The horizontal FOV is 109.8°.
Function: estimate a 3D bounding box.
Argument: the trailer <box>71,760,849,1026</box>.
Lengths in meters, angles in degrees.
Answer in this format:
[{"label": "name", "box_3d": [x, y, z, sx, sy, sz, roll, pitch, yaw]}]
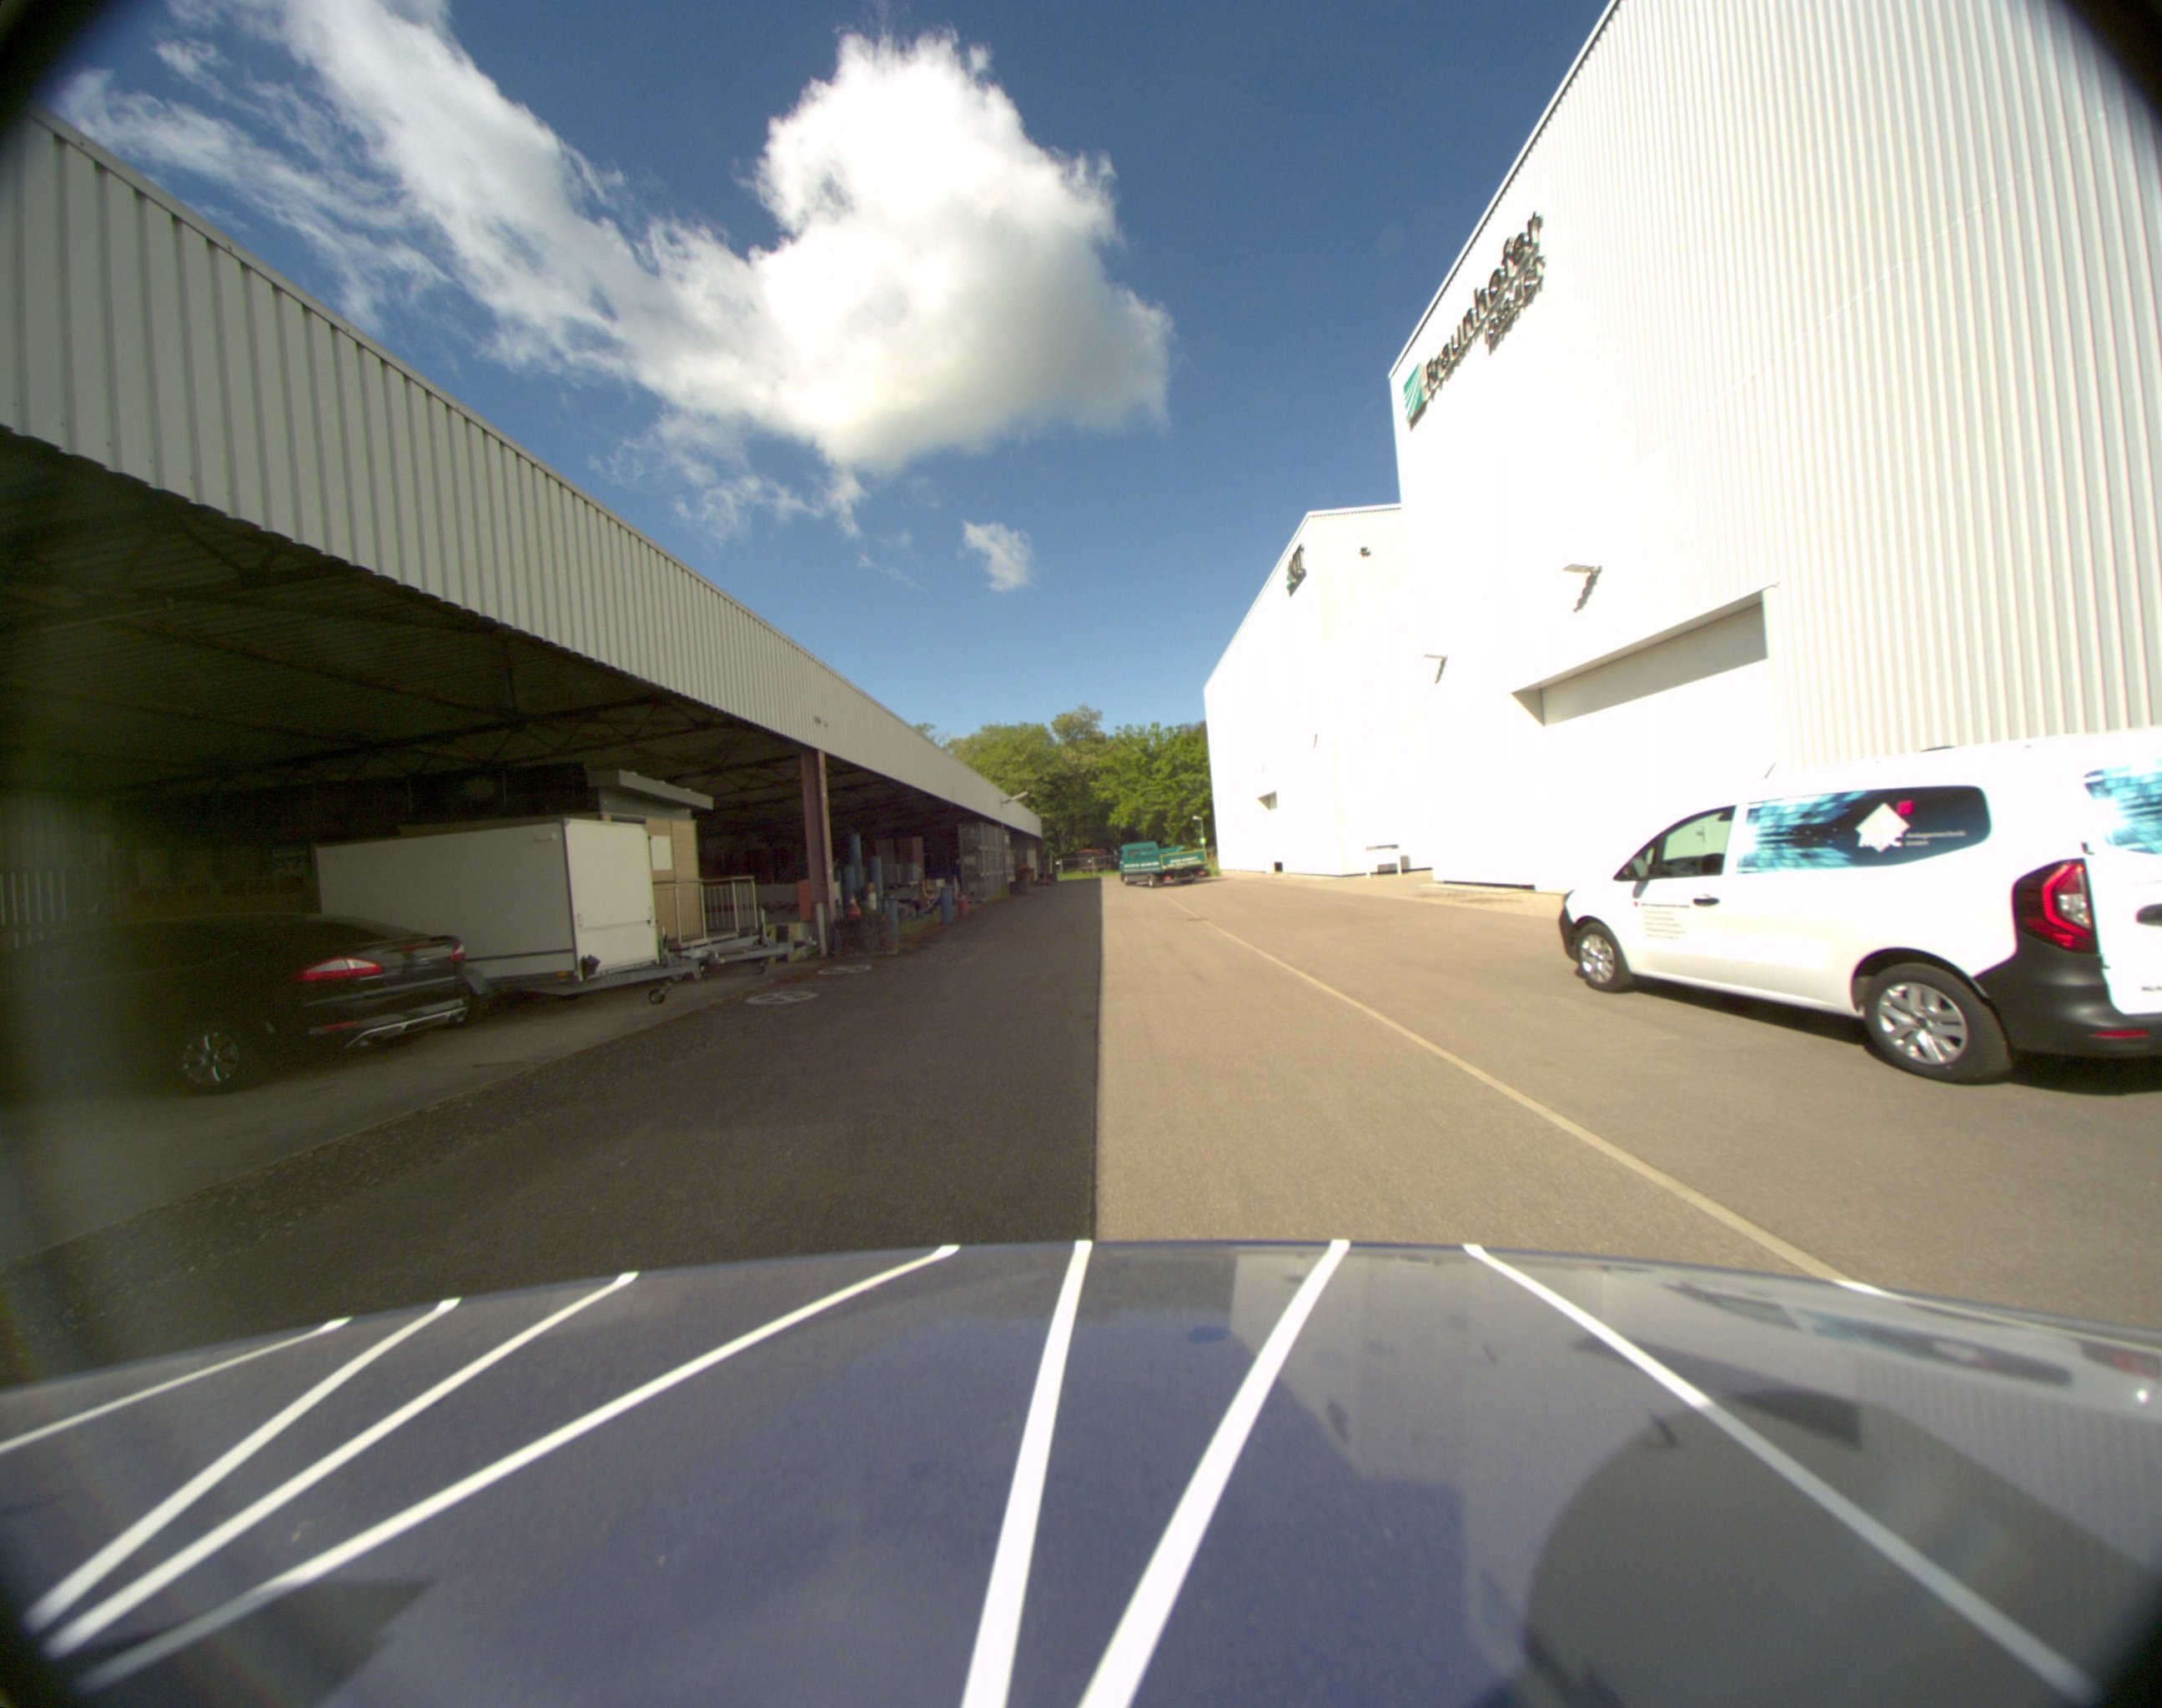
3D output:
[{"label": "trailer", "box_3d": [-9.353, 0.596, 12.165, 10.317, 3.276, 2.676, -3, 0, 2]}]

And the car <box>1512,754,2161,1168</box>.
[{"label": "car", "box_3d": [5.479, 0.405, 5.605, 1.933, 1.779, 4.598, -6, 0, 2]}]

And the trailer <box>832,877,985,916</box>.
[{"label": "trailer", "box_3d": [-7.003, 1.705, 31.217, 5.748, 1.126, 2.009, -4, 0, 0]}]

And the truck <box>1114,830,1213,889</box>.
[{"label": "truck", "box_3d": [4.406, 0.420, 43.409, 2.589, 2.700, 9.688, -7, 0, -11]}]

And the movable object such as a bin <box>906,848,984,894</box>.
[{"label": "movable object such as a bin", "box_3d": [-8.826, 1.139, 49.600, 4.626, 2.705, 2.000, -3, -1, 0]}]

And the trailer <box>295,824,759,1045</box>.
[{"label": "trailer", "box_3d": [-6.752, 0.940, 9.579, 4.552, 2.321, 1.689, -3, 0, 2]}]

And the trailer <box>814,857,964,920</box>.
[{"label": "trailer", "box_3d": [-6.967, 1.231, 27.880, 4.828, 1.985, 2.047, -3, 0, 4]}]

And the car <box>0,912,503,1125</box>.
[{"label": "car", "box_3d": [-8.296, 1.435, 7.021, 4.355, 1.425, 1.864, -3, 0, -2]}]
